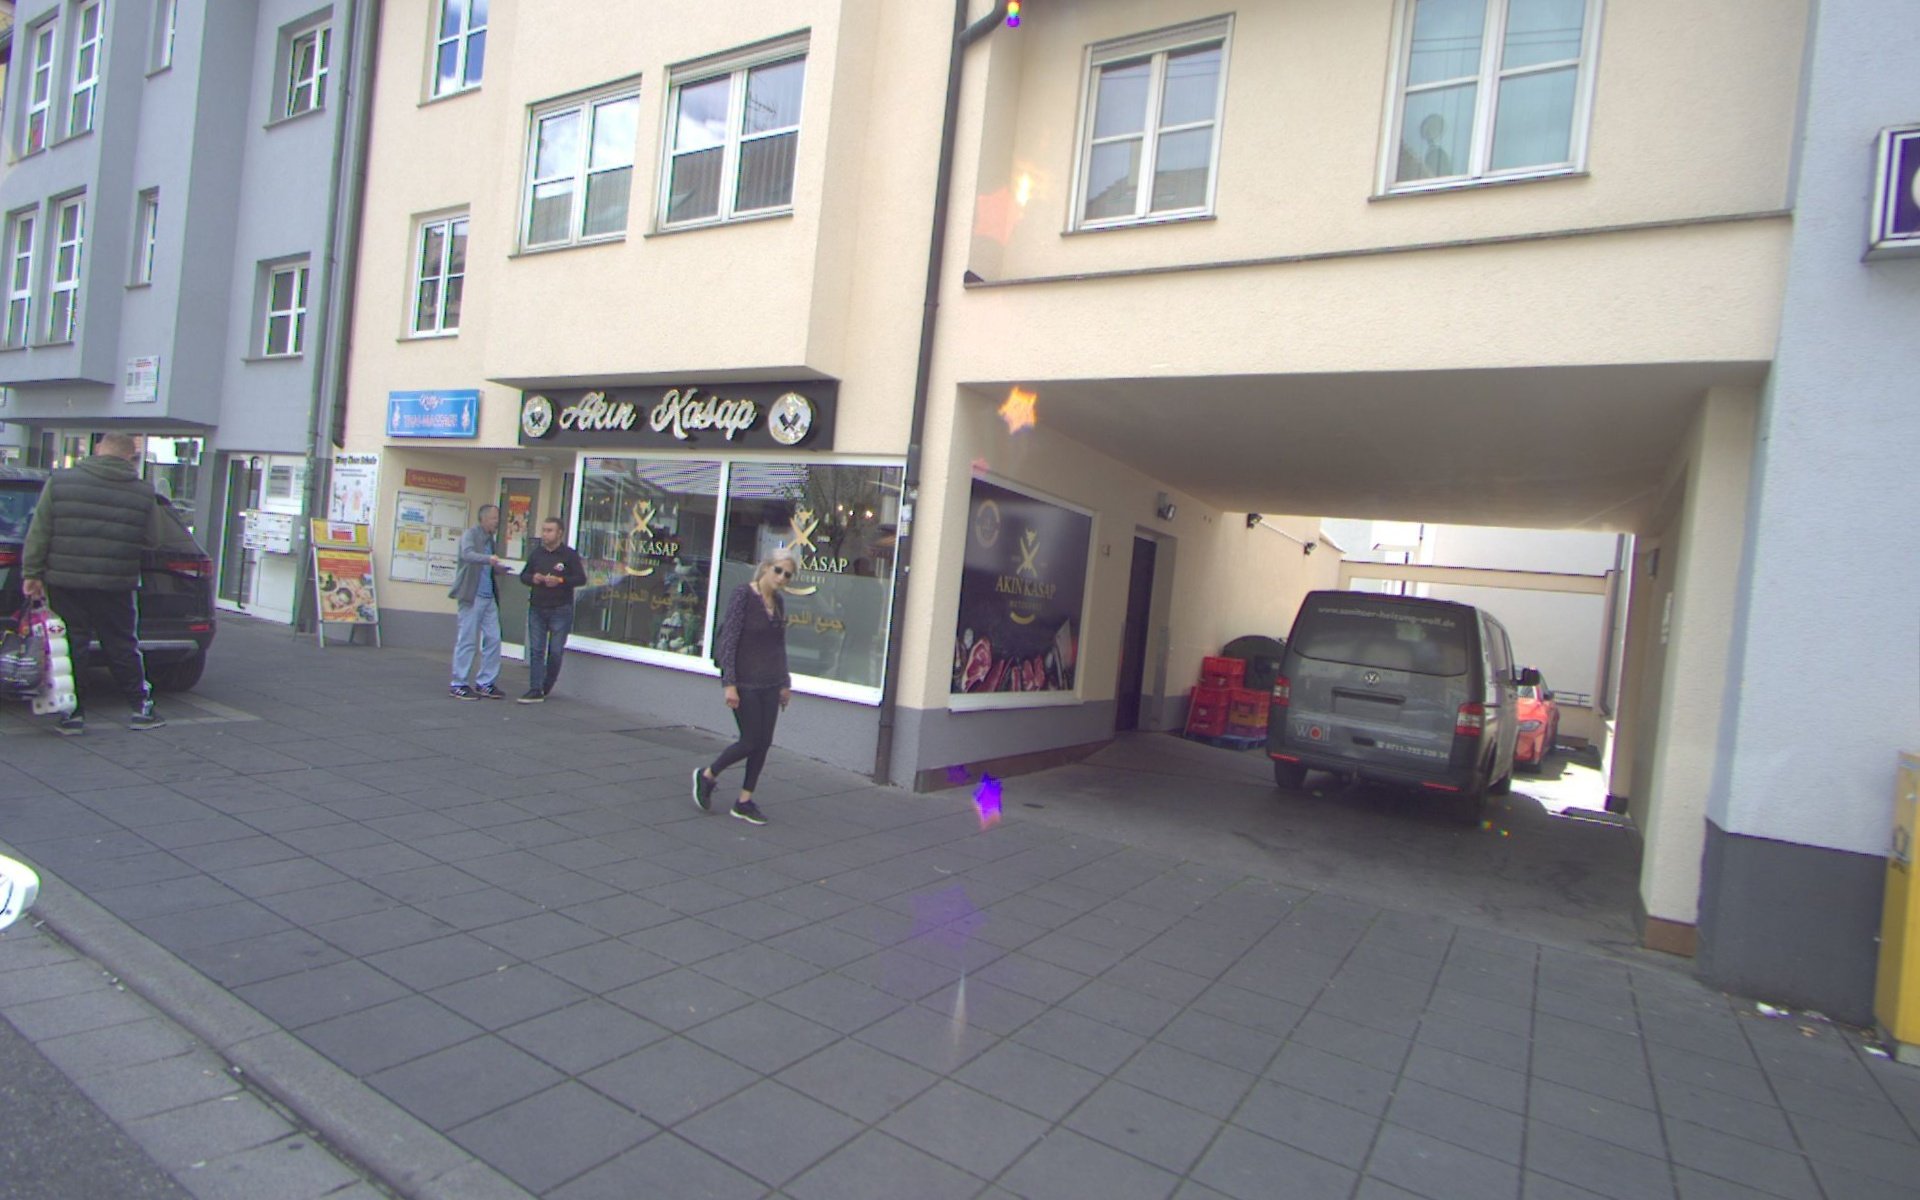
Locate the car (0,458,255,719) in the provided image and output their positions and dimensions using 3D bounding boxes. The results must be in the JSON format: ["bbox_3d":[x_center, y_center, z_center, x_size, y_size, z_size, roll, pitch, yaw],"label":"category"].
[{"bbox_3d":[-7.470,-0.260,7.689,4.133,1.624,1.800,7,2,30],"label":"car"}]

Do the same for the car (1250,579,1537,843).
[{"bbox_3d":[4.670,0.948,10.412,1.922,1.958,4.348,7,2,32],"label":"car"}]

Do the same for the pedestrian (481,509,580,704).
[{"bbox_3d":[-3.999,0.063,9.370,0.528,1.738,0.436,6,-1,29],"label":"pedestrian"}]

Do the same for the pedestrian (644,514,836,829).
[{"bbox_3d":[-1.318,0.415,6.099,0.645,1.739,0.744,6,0,30],"label":"pedestrian"}]

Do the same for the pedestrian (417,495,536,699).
[{"bbox_3d":[-4.318,-0.020,8.991,0.596,1.738,0.536,6,-1,30],"label":"pedestrian"}]

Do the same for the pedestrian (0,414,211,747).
[{"bbox_3d":[-5.521,-0.126,6.314,0.850,1.888,0.976,6,2,30],"label":"pedestrian"}]

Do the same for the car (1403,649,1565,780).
[{"bbox_3d":[7.998,1.599,15.189,1.752,1.451,3.779,7,2,32],"label":"car"}]
